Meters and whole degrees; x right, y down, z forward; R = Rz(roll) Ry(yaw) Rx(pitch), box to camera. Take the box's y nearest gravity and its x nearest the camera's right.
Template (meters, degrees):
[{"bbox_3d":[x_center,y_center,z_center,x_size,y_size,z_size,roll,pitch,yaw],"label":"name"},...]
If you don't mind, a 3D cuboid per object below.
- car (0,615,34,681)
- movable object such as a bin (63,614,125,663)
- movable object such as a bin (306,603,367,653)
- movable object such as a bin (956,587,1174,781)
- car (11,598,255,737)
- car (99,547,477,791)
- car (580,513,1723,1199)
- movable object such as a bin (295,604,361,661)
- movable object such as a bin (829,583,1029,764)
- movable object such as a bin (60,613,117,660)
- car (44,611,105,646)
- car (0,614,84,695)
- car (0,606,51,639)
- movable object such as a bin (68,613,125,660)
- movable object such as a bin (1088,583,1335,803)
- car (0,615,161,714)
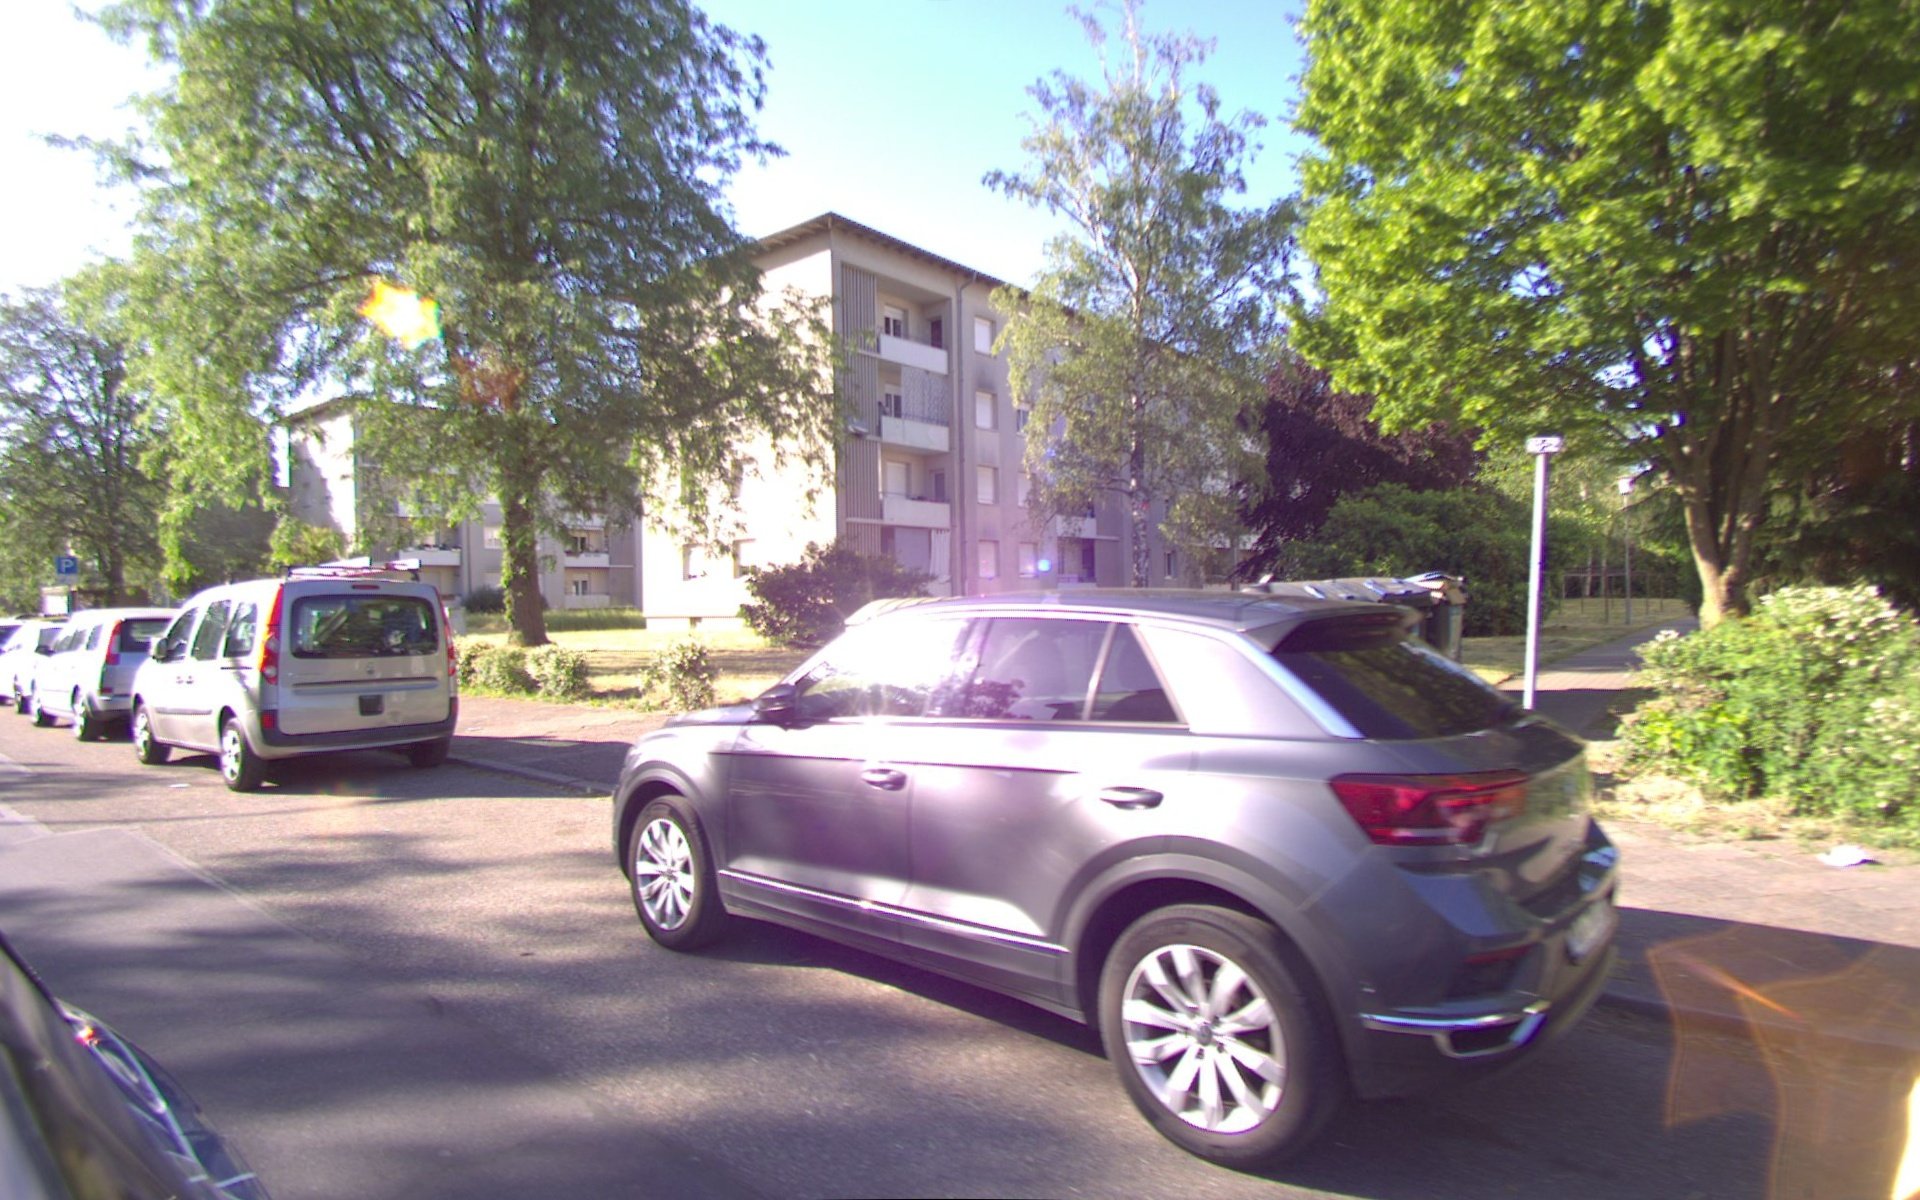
[{"bbox_3d":[-23.950,1.149,24.524,3.886,1.546,1.670,-1,-1,39],"label":"car"},{"bbox_3d":[-26.115,1.144,30.532,1.342,1.350,1.166,-1,2,41],"label":"movable object such as a bin"},{"bbox_3d":[-19.113,0.850,31.014,1.462,1.431,1.165,-1,2,42],"label":"movable object such as a bin"},{"bbox_3d":[0.864,0.629,8.338,1.360,1.381,1.090,-2,2,40],"label":"movable object such as a bin"},{"bbox_3d":[-11.205,0.838,13.632,3.980,1.612,1.693,-1,-2,38],"label":"car"},{"bbox_3d":[-6.770,0.583,10.022,4.412,1.907,1.837,-1,-1,38],"label":"car"},{"bbox_3d":[0.332,0.643,3.989,4.138,1.545,1.728,-1,-1,42],"label":"car"},{"bbox_3d":[-17.234,0.880,27.594,1.360,1.431,1.123,-1,2,41],"label":"movable object such as a bin"},{"bbox_3d":[-0.281,0.606,9.108,1.360,1.431,1.090,-2,2,40],"label":"movable object such as a bin"},{"bbox_3d":[-27.979,1.167,32.489,1.441,1.393,1.125,-1,2,41],"label":"movable object such as a bin"},{"bbox_3d":[-45.518,1.450,51.999,3.994,1.653,1.556,-1,1,38],"label":"car"},{"bbox_3d":[-19.416,1.075,20.615,3.812,1.517,1.670,-1,-1,38],"label":"car"},{"bbox_3d":[-47.308,1.131,50.972,3.994,1.536,1.556,-1,1,38],"label":"car"},{"bbox_3d":[-26.940,1.119,31.575,1.243,1.368,1.125,-1,2,41],"label":"movable object such as a bin"},{"bbox_3d":[1.824,0.604,7.344,1.360,1.366,1.090,-2,2,40],"label":"movable object such as a bin"},{"bbox_3d":[-15.256,1.022,17.194,4.521,1.476,1.670,-1,-2,39],"label":"car"}]
